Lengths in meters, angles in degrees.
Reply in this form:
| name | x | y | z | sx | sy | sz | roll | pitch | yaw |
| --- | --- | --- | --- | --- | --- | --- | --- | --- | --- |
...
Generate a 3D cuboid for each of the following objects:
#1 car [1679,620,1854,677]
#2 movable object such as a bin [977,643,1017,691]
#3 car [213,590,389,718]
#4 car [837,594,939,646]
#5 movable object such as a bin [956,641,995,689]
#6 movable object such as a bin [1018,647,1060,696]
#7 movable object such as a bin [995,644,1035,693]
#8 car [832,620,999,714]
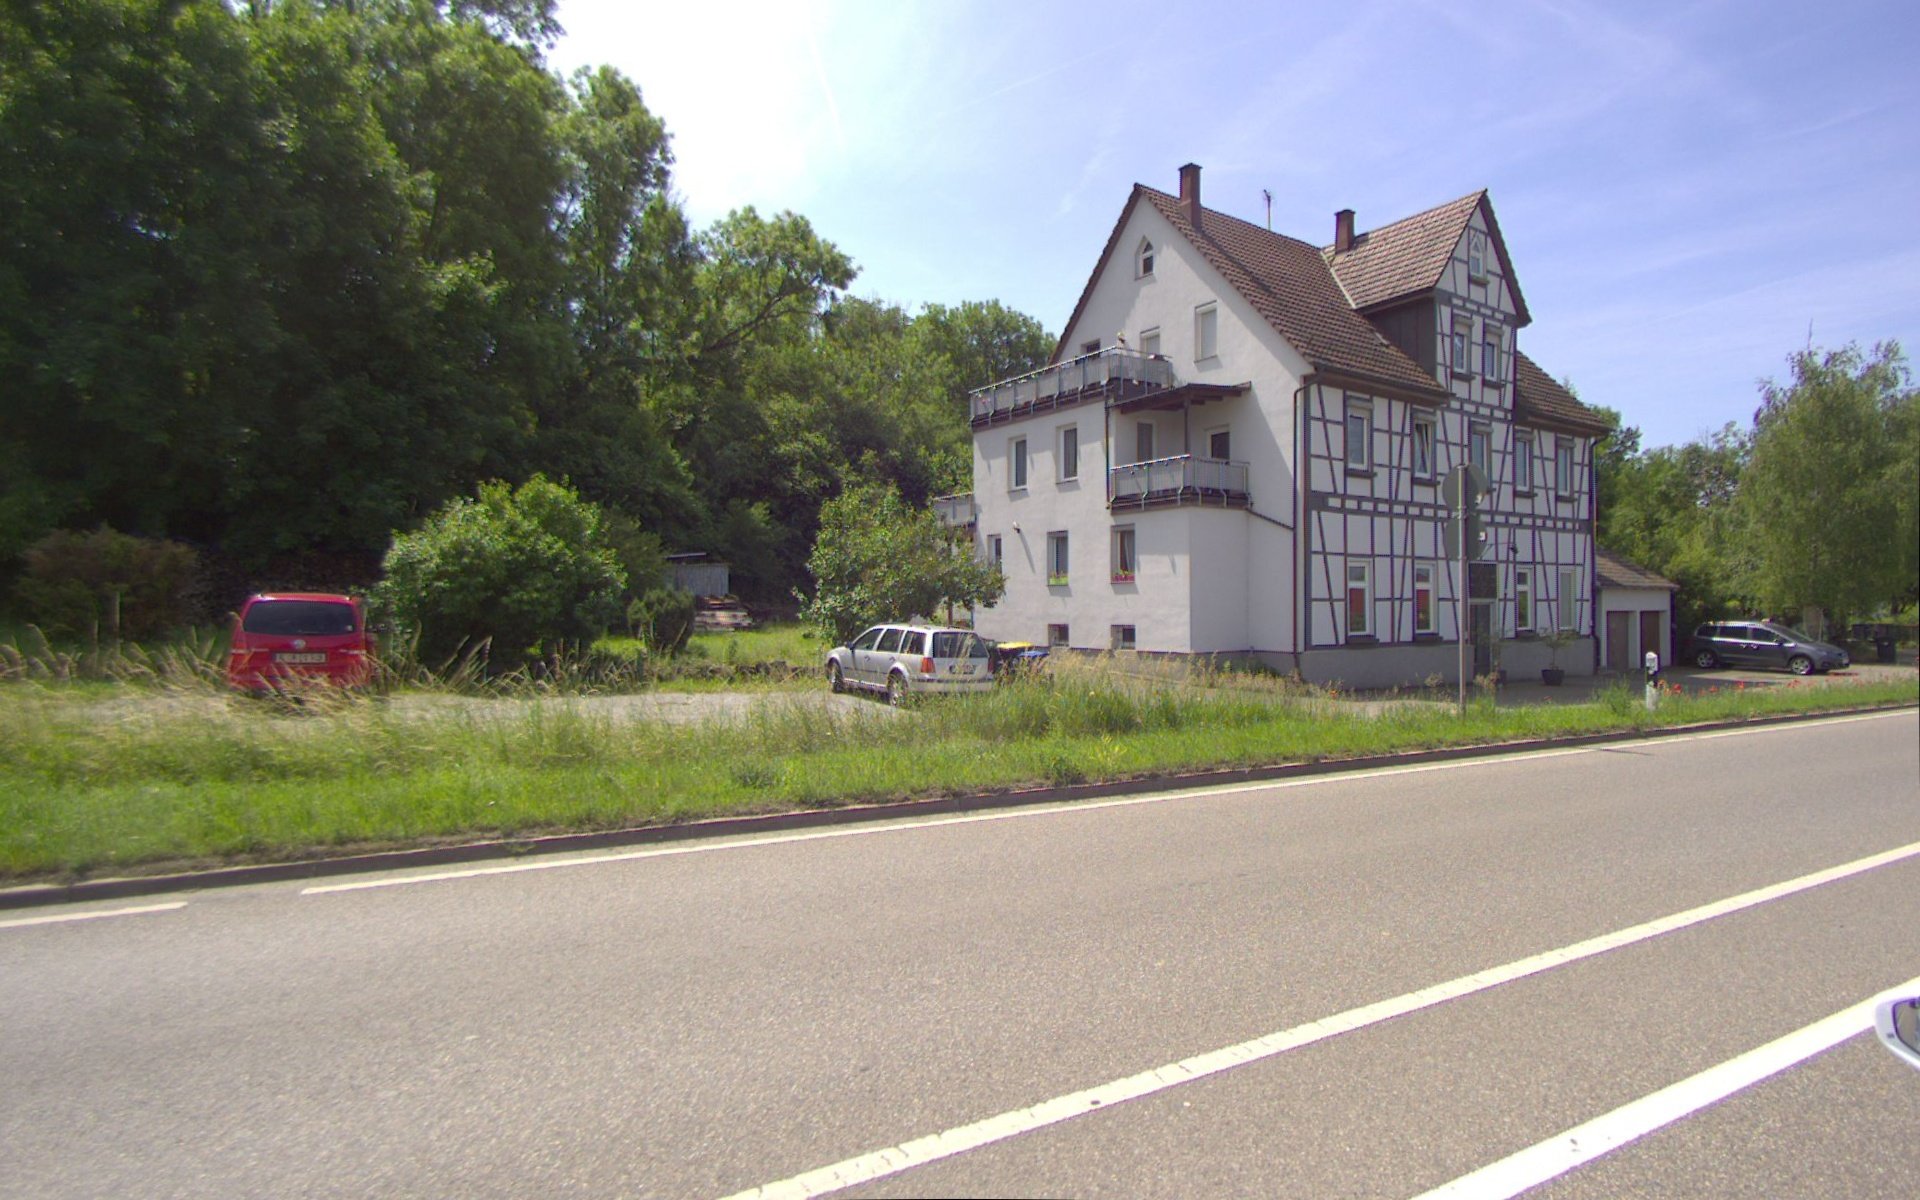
| name | x | y | z | sx | sy | sz | roll | pitch | yaw |
| --- | --- | --- | --- | --- | --- | --- | --- | --- | --- |
| car | 29.231 | 1.684 | 36.549 | 1.841 | 1.743 | 4.636 | -2 | 2 | -33 |
| movable object such as a bin | 0.781 | 1.411 | 21.312 | 0.649 | 0.984 | 0.499 | 2 | 0 | -37 |
| car | -9.804 | 0.704 | 15.243 | 1.810 | 1.640 | 4.011 | 1 | 0 | -28 |
| car | -2.434 | 0.640 | 33.479 | 1.660 | 1.466 | 3.345 | 1 | 2 | -42 |
| movable object such as a bin | 0.343 | 1.406 | 21.836 | 0.649 | 0.989 | 0.499 | 2 | 0 | -37 |
| movable object such as a bin | 1.613 | 1.458 | 20.510 | 0.649 | 0.949 | 0.499 | 2 | 0 | -37 |
| movable object such as a bin | 1.139 | 1.423 | 20.886 | 0.649 | 0.982 | 0.499 | 2 | 0 | -37 |
| car | -0.918 | 1.177 | 18.952 | 1.594 | 1.485 | 3.354 | 1 | 0 | -35 |
